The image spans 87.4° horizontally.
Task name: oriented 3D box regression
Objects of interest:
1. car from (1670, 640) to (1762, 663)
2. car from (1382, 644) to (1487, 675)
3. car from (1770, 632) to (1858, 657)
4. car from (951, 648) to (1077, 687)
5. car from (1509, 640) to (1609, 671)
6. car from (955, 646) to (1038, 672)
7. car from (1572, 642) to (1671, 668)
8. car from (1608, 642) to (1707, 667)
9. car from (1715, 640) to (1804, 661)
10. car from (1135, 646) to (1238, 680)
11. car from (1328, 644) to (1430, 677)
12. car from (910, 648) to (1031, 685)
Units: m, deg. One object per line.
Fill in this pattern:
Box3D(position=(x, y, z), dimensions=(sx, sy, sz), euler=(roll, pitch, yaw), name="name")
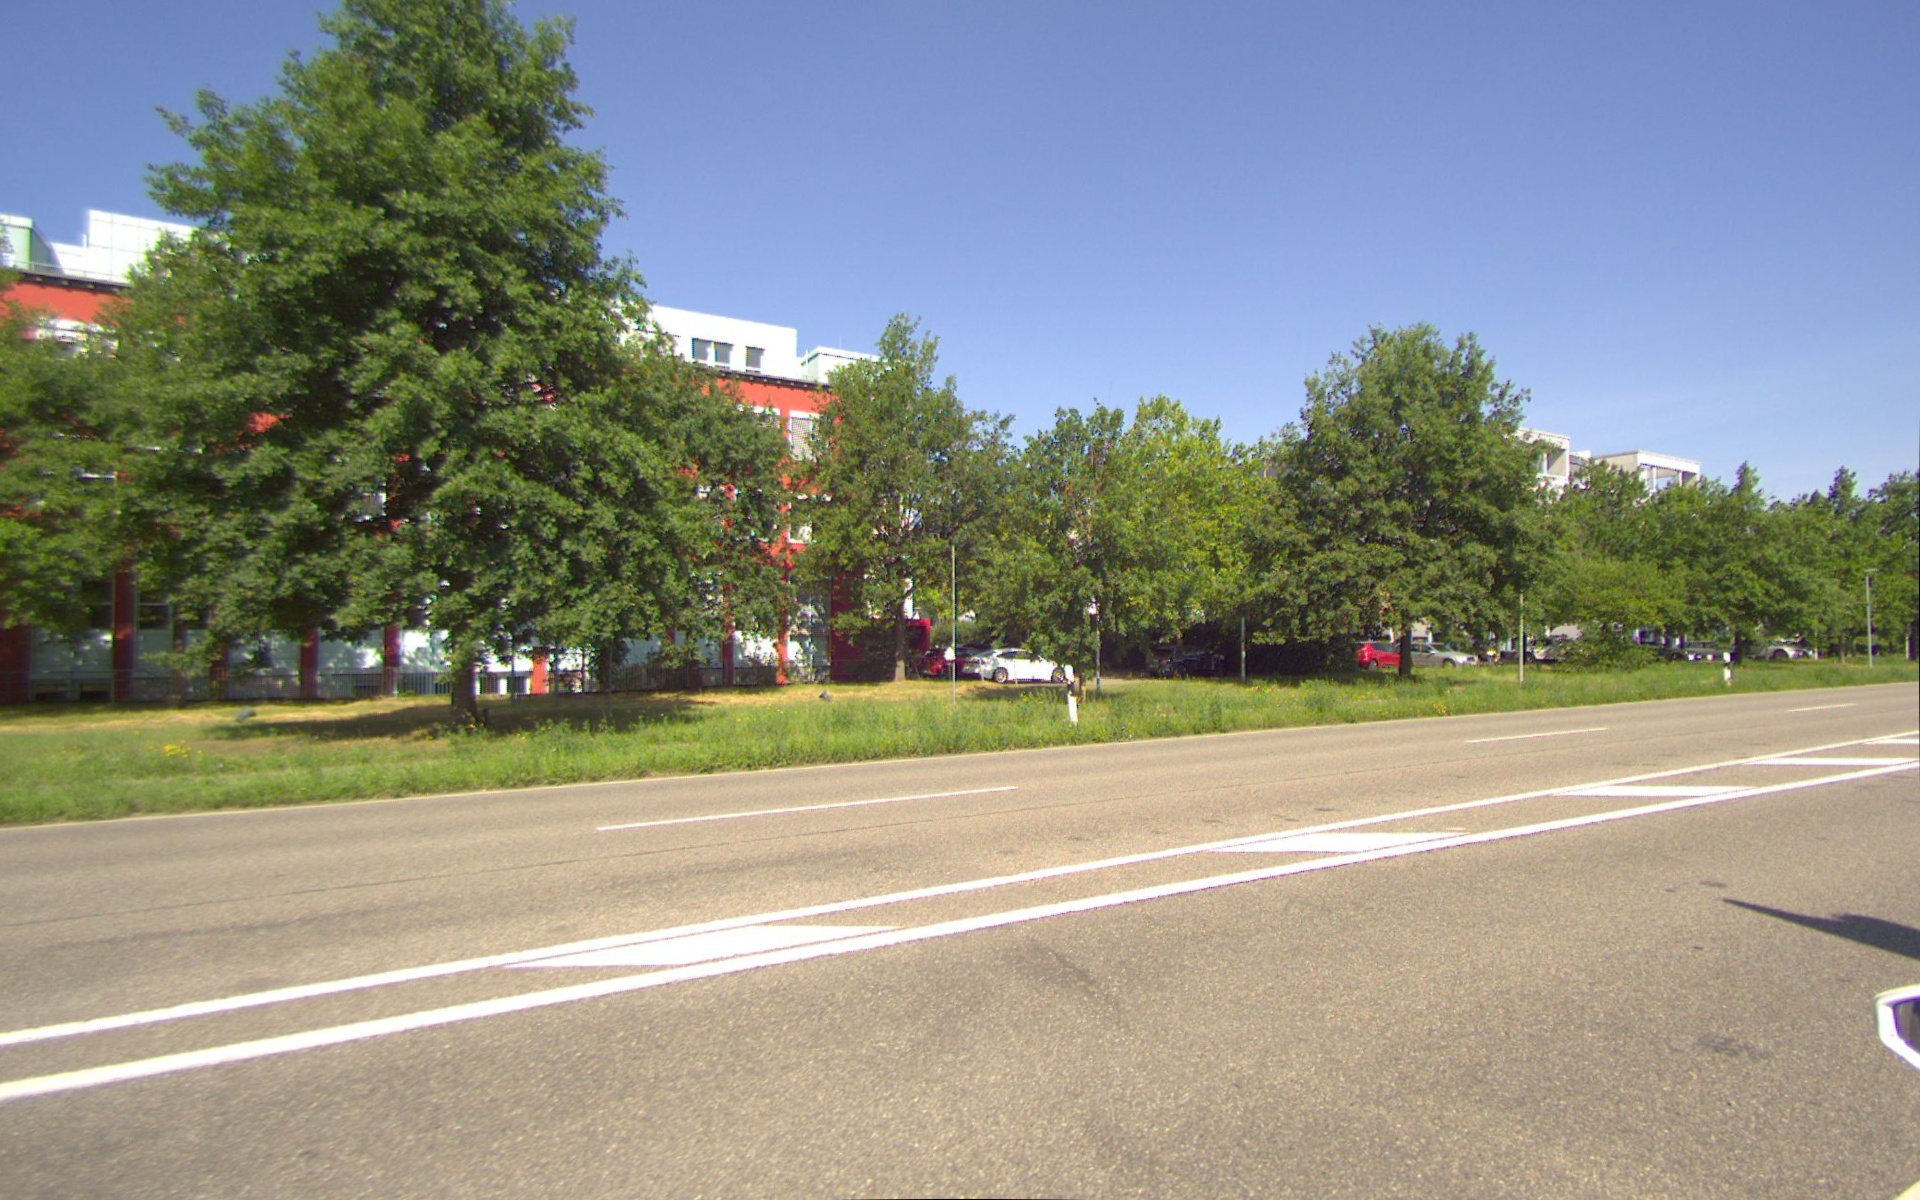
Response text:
Box3D(position=(51.283, 3.467, 68.230), dimensions=(1.976, 1.456, 4.574), euler=(1, -2, -30), name="car")
Box3D(position=(24.021, 2.980, 51.017), dimensions=(1.976, 1.456, 4.574), euler=(1, -2, -30), name="car")
Box3D(position=(62.872, 3.291, 74.033), dimensions=(1.974, 1.781, 4.518), euler=(1, -3, -27), name="car")
Box3D(position=(2.227, 2.738, 41.202), dimensions=(4.893, 1.456, 1.985), euler=(1, -2, -29), name="car")
Box3D(position=(34.093, 3.110, 57.295), dimensions=(1.976, 1.672, 4.574), euler=(1, -2, -30), name="car")
Box3D(position=(2.166, 3.467, 59.317), dimensions=(4.556, 1.456, 1.984), euler=(1, -2, -31), name="car")
Box3D(position=(39.586, 3.263, 60.186), dimensions=(1.976, 1.456, 4.574), euler=(1, -2, -30), name="car")
Box3D(position=(42.824, 3.333, 61.783), dimensions=(1.976, 1.456, 4.574), euler=(1, -2, -30), name="car")
Box3D(position=(56.779, 3.579, 71.437), dimensions=(1.976, 1.456, 4.574), euler=(1, -2, -30), name="car")
Box3D(position=(10.515, 2.887, 46.551), dimensions=(4.556, 1.456, 1.984), euler=(1, -2, -31), name="car")
Box3D(position=(19.650, 2.797, 47.090), dimensions=(4.552, 1.456, 1.986), euler=(1, -2, -28), name="car")
Box3D(position=(0.459, 2.827, 43.168), dimensions=(4.893, 1.456, 1.985), euler=(1, -2, -29), name="car")
